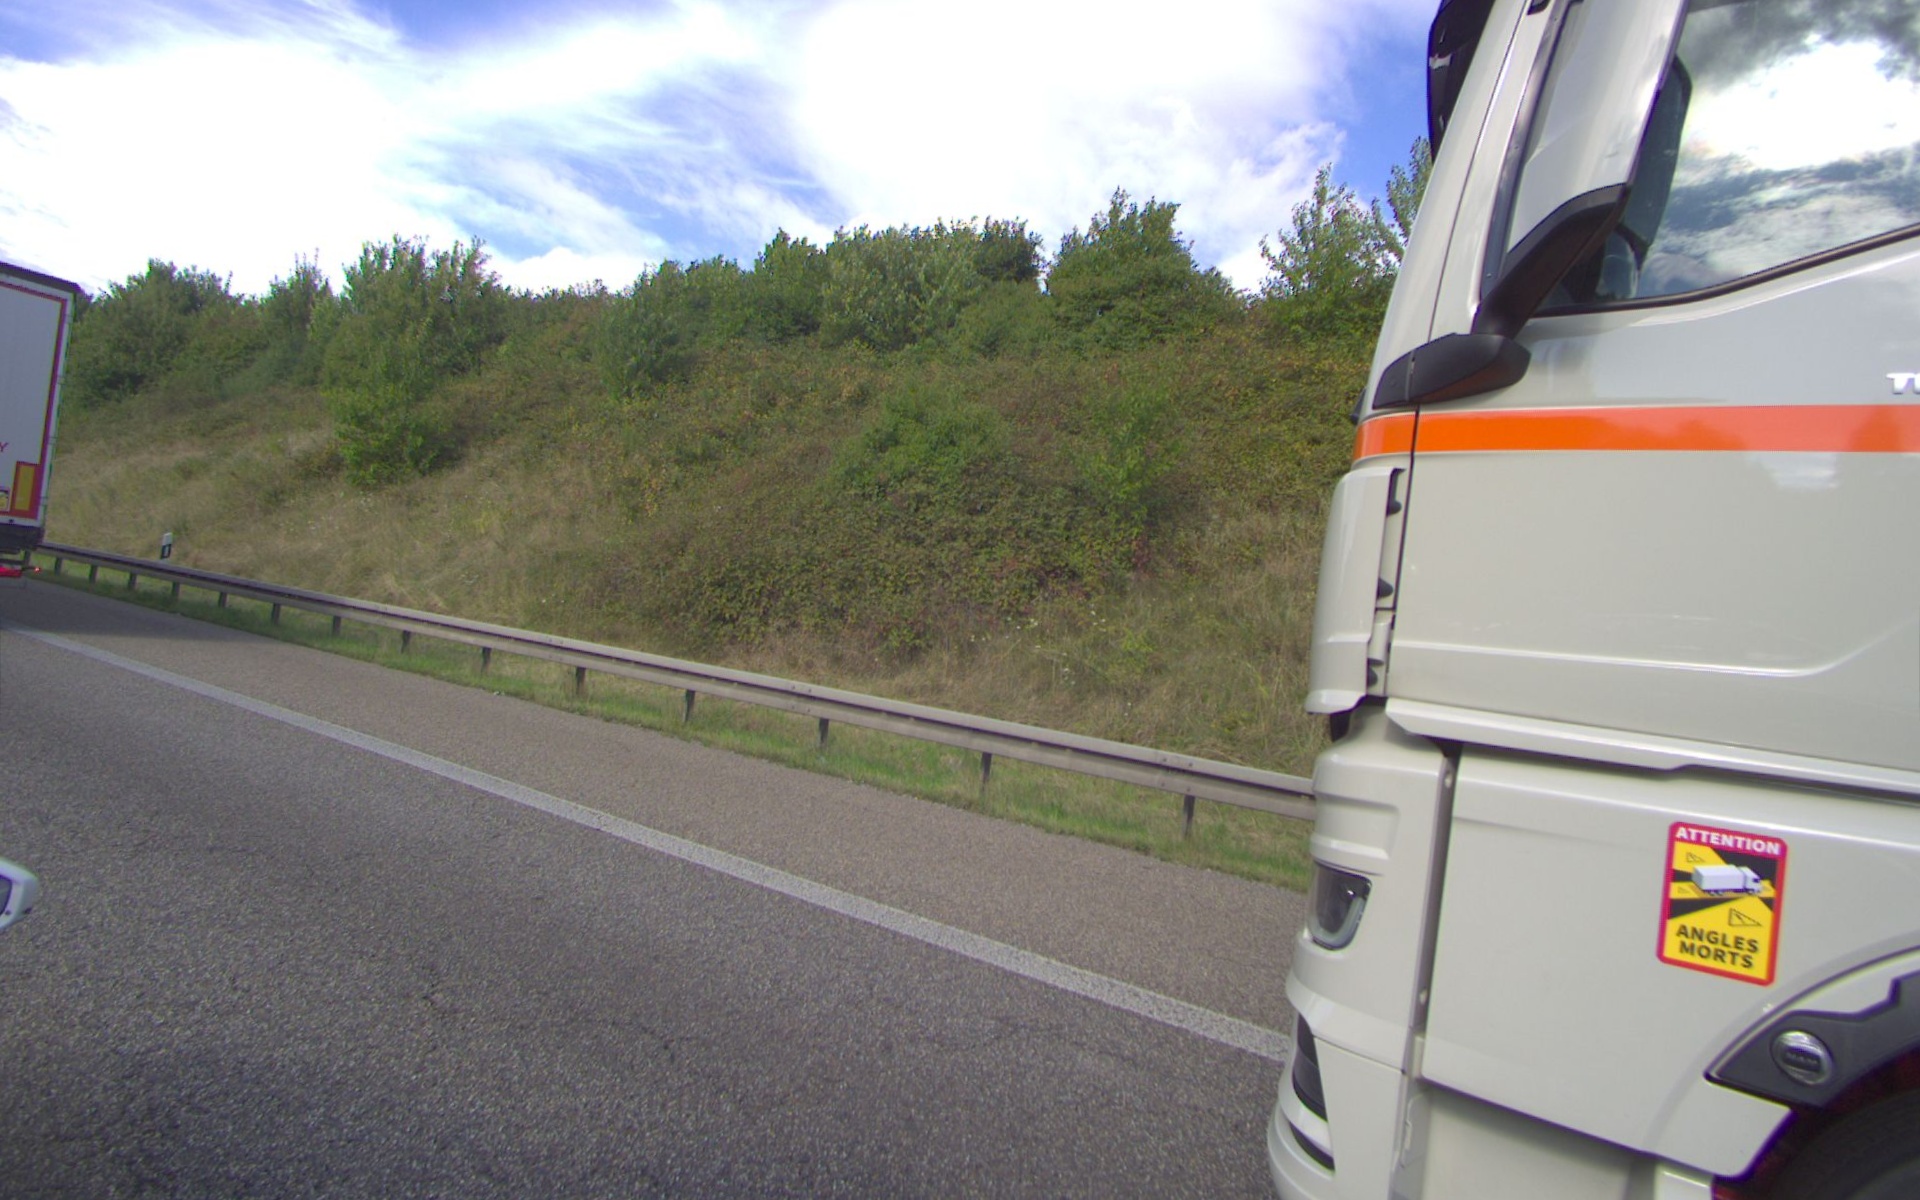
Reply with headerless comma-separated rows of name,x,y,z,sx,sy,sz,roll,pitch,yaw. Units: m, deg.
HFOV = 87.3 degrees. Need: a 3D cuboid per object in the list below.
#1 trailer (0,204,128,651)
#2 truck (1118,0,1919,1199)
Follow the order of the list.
trailer,-16.177,-2.541,13.745,13.069,4.716,3.007,7,-1,32
truck,3.707,-0.108,1.729,5.808,4.091,2.806,7,-1,33
